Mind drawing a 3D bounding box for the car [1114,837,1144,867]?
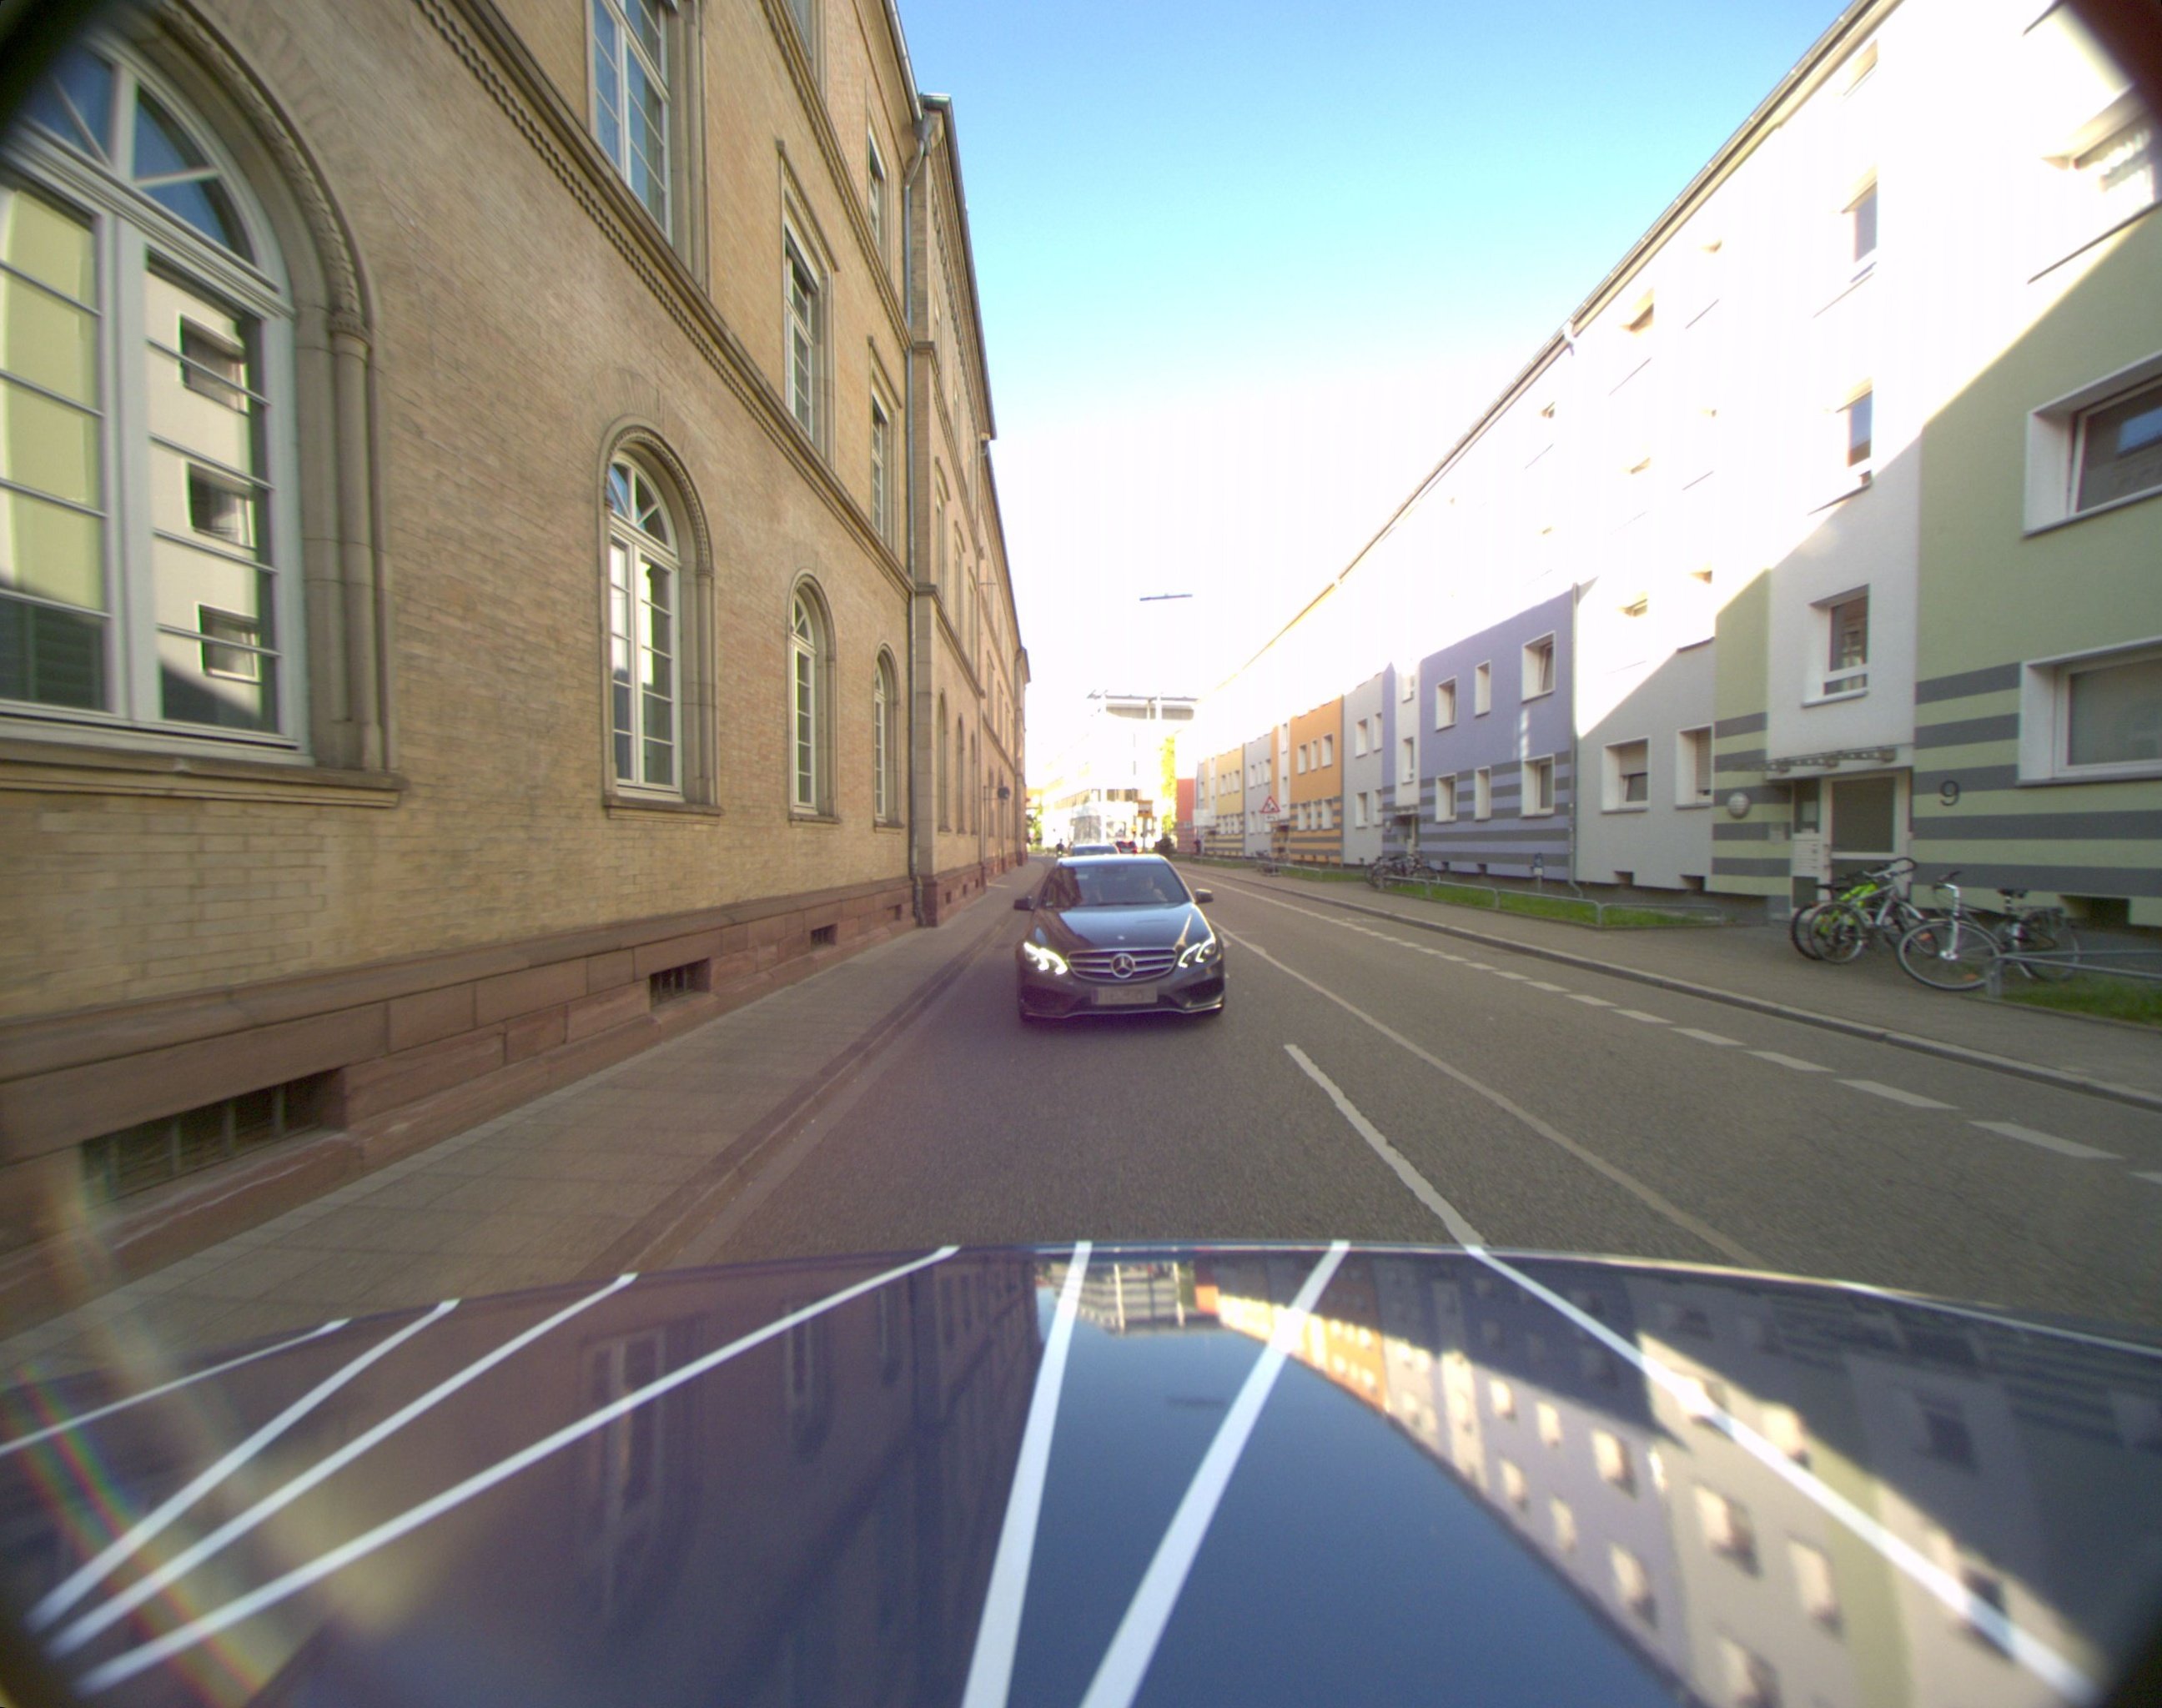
[{"bbox_3d":[3.106,-0.170,49.717,1.682,1.777,4.242,-3,1,1],"label":"car"}]

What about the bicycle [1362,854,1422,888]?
[{"bbox_3d":[9.661,0.526,23.631,1.657,0.941,0.388,-4,2,1],"label":"bicycle"}]

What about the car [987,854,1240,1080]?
[{"bbox_3d":[0.377,0.846,7.925,1.785,1.471,4.670,-3,1,3],"label":"car"}]

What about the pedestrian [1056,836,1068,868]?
[{"bbox_3d":[-1.124,-0.117,45.783,0.677,1.929,0.858,0,2,1],"label":"pedestrian"}]

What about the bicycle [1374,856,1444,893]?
[{"bbox_3d":[9.474,0.583,21.974,1.802,0.941,0.388,-4,2,1],"label":"bicycle"}]

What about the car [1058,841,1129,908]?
[{"bbox_3d":[0.355,0.487,21.091,1.682,1.568,4.242,-3,1,1],"label":"car"}]

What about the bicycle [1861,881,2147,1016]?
[{"bbox_3d":[8.899,0.887,7.385,1.820,1.095,0.749,-4,2,1],"label":"bicycle"}]

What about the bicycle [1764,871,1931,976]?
[{"bbox_3d":[9.287,0.825,9.216,1.738,1.095,0.388,-4,2,-6],"label":"bicycle"}]

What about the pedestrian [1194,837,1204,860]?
[{"bbox_3d":[8.435,-0.399,54.163,0.612,1.641,0.447,-1,2,-5],"label":"pedestrian"}]

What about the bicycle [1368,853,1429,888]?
[{"bbox_3d":[9.692,0.502,23.223,1.657,0.941,0.388,-4,2,1],"label":"bicycle"}]

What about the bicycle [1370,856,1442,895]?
[{"bbox_3d":[9.090,0.604,21.290,1.802,0.941,0.388,-4,2,1],"label":"bicycle"}]

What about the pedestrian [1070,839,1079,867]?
[{"bbox_3d":[-0.424,-0.088,49.094,0.603,1.771,0.652,0,2,1],"label":"pedestrian"}]

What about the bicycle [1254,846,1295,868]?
[{"bbox_3d":[9.695,0.139,38.030,1.807,0.977,0.654,-5,2,-2],"label":"bicycle"}]

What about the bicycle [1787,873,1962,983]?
[{"bbox_3d":[9.199,0.843,8.814,1.738,1.095,0.388,-4,2,-6],"label":"bicycle"}]
